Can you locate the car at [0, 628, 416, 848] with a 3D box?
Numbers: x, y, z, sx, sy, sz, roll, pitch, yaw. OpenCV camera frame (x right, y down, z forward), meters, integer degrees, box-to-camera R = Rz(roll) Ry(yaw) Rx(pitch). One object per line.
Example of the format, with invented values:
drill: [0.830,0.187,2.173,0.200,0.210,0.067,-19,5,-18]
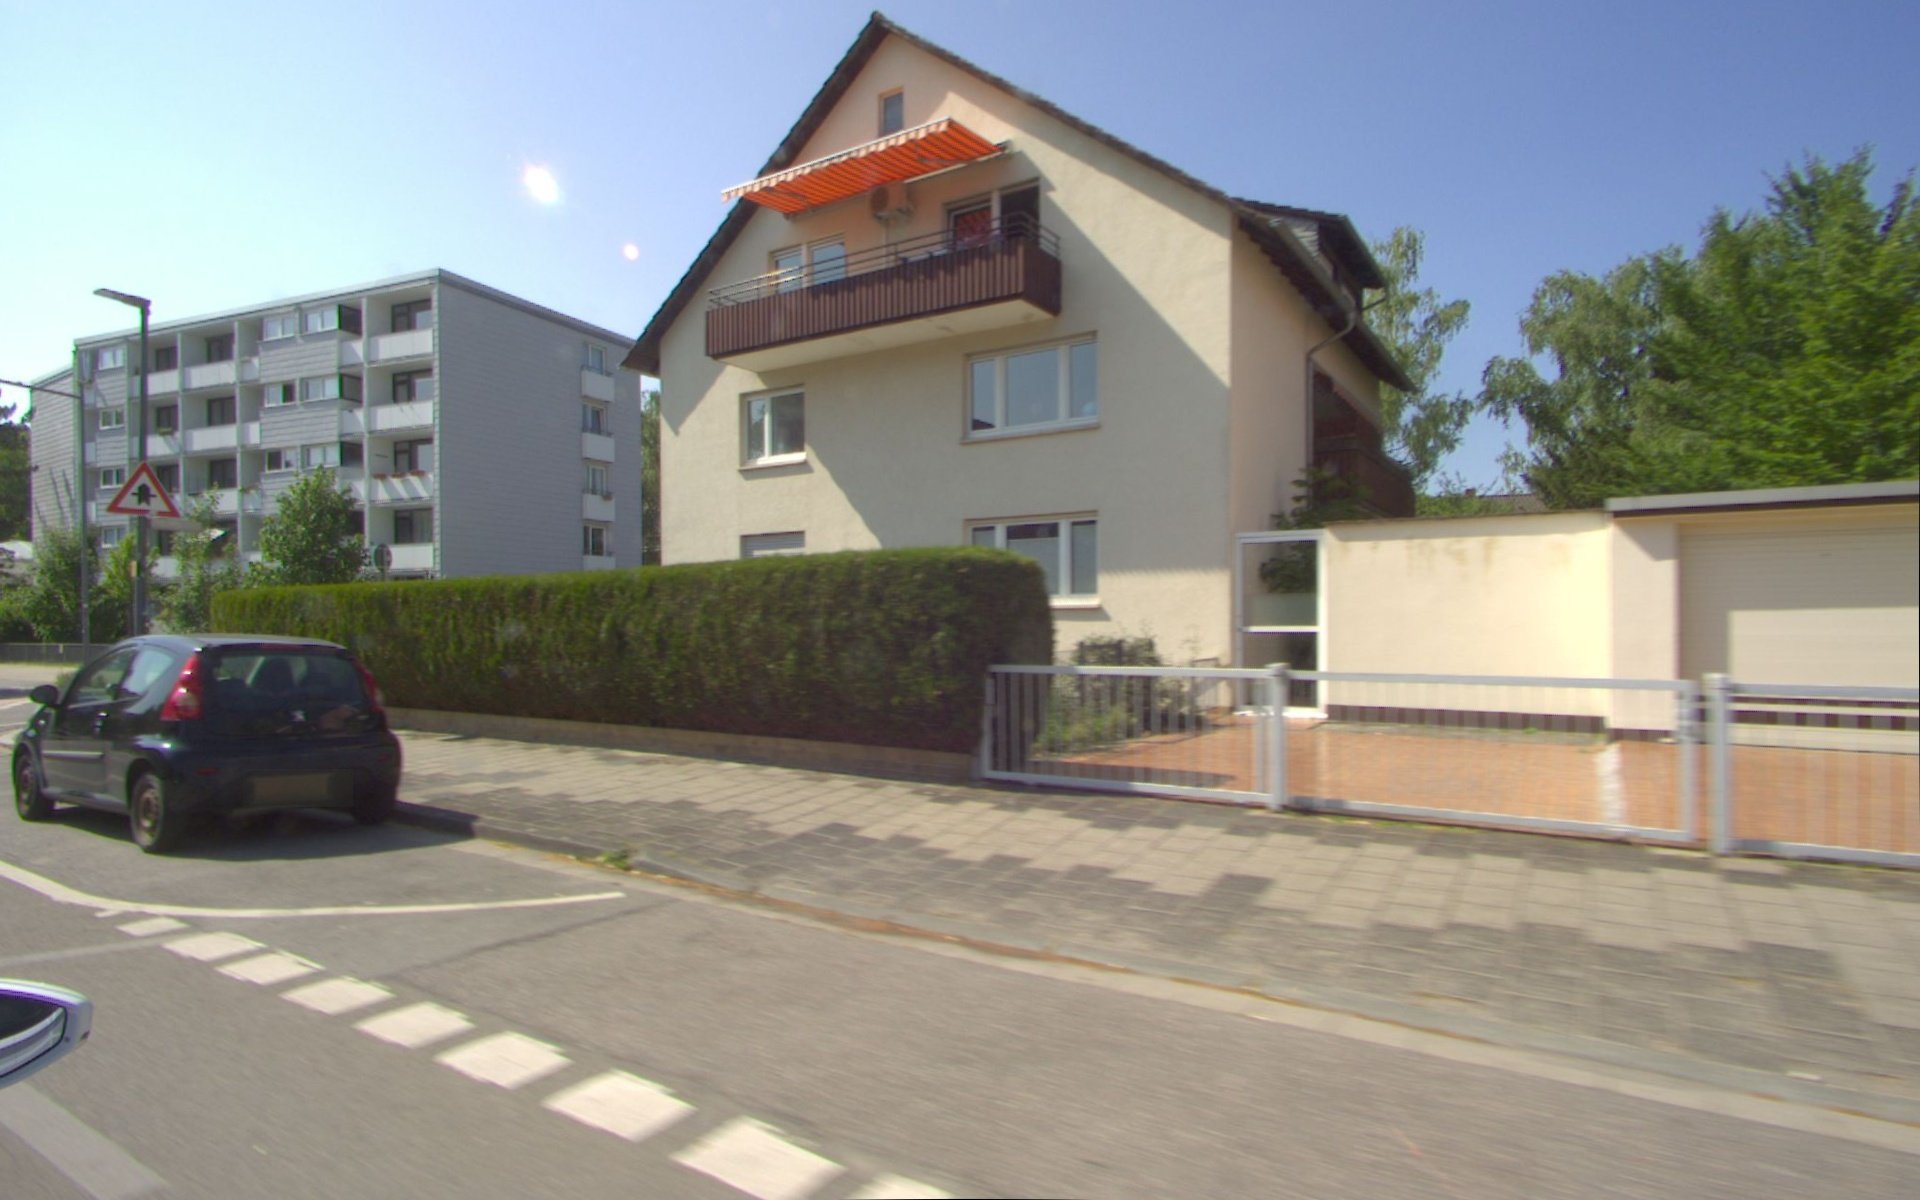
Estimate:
car: [-6.333,0.954,8.174,3.943,1.407,1.614,-1,-2,32]
